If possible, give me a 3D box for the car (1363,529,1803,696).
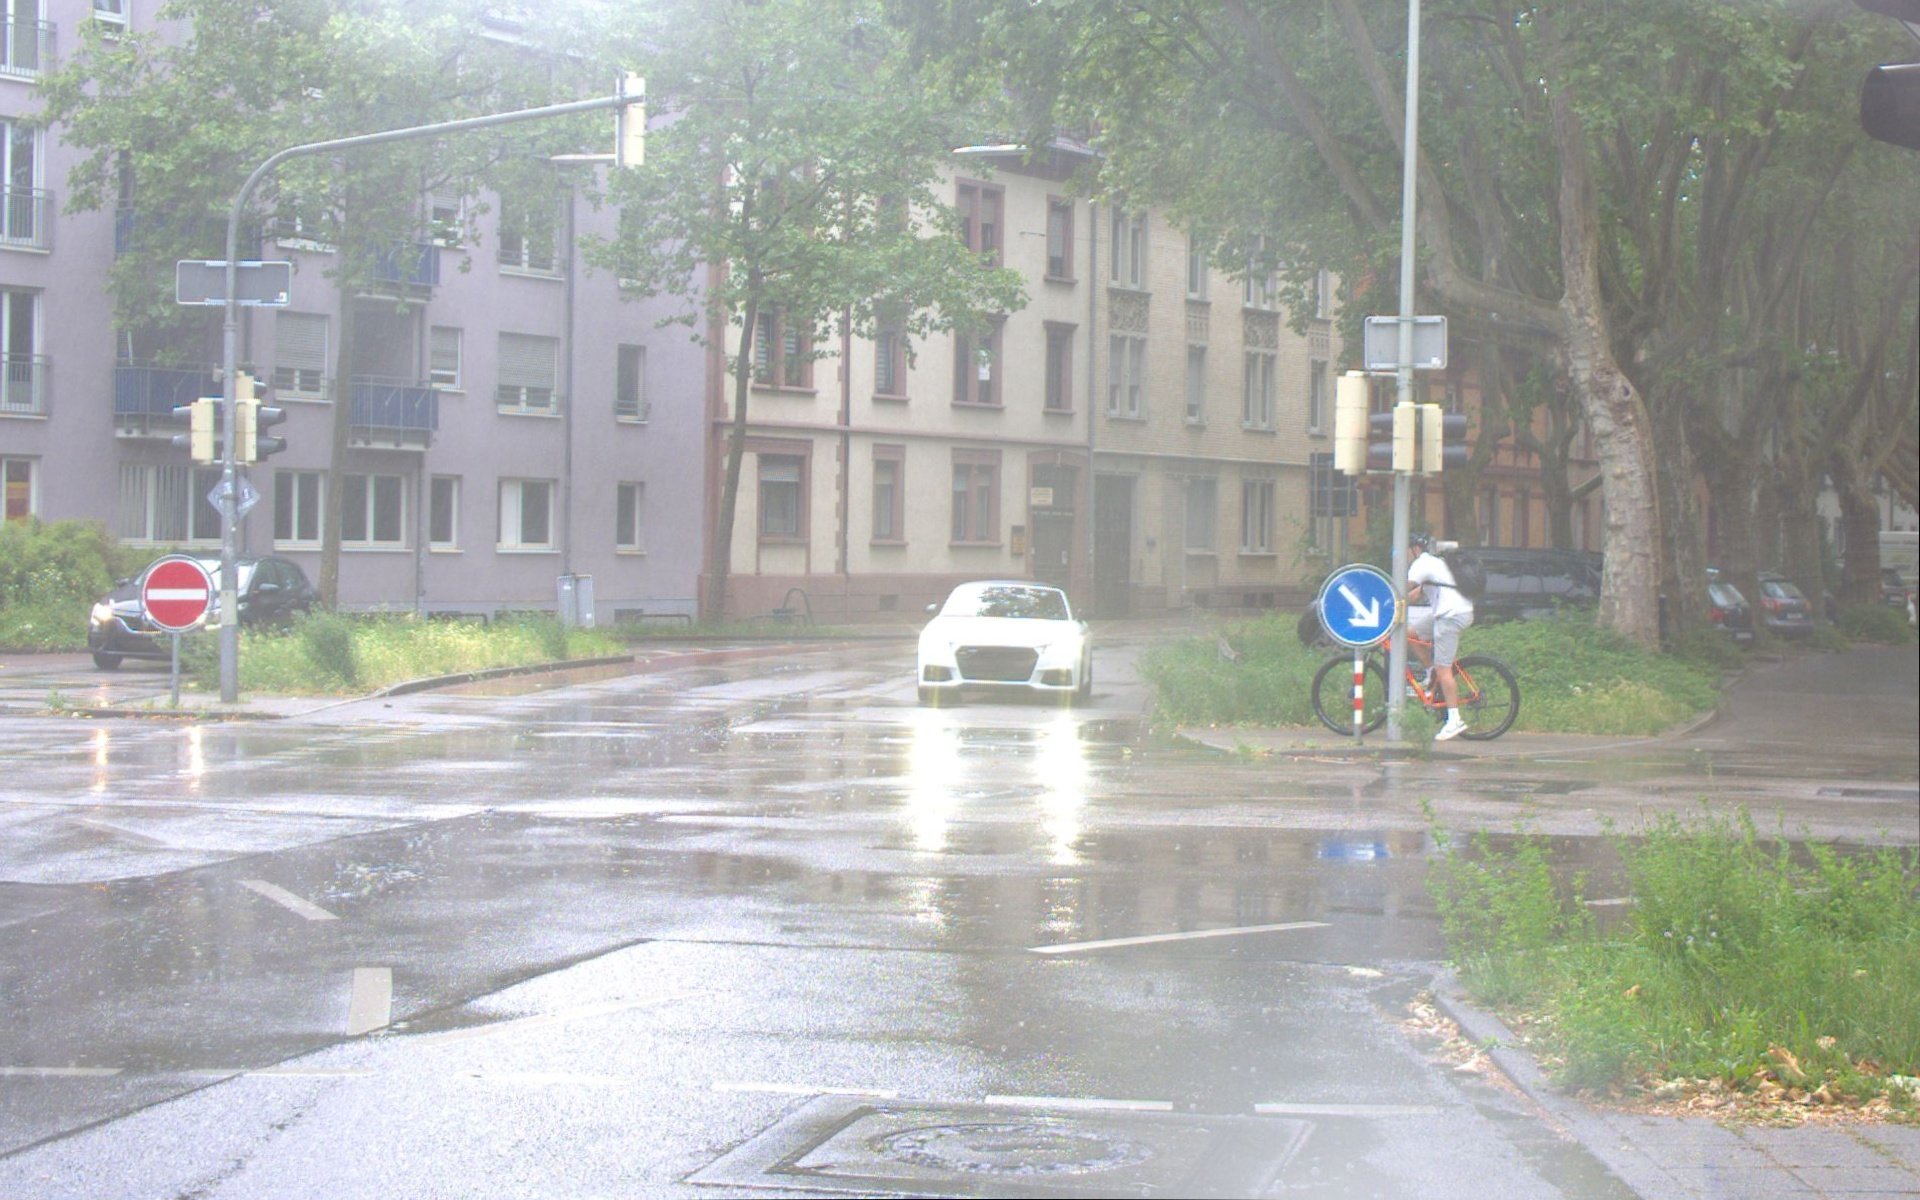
[{"bbox_3d":[5.945,0.096,32.757,3.989,1.481,1.999,1,1,12],"label":"car"}]

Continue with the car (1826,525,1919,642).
[{"bbox_3d":[24.390,-0.425,87.720,2.033,2.938,4.773,1,1,-21],"label":"car"}]

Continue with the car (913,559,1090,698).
[{"bbox_3d":[0.499,0.281,39.142,1.884,1.431,4.000,1,1,1],"label":"car"}]

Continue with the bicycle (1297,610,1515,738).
[{"bbox_3d":[3.942,0.643,30.401,1.873,1.077,0.657,1,0,8],"label":"bicycle"}]

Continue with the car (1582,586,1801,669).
[{"bbox_3d":[13.929,0.505,65.479,3.989,1.481,1.999,1,1,12],"label":"car"}]

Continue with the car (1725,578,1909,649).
[{"bbox_3d":[19.571,0.299,78.658,3.989,1.542,1.999,1,1,12],"label":"car"}]

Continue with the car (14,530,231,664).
[{"bbox_3d":[-10.048,-0.067,41.501,1.751,1.506,3.839,1,1,-2],"label":"car"}]

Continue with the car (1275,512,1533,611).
[{"bbox_3d":[6.987,-0.614,54.005,3.868,1.481,1.715,1,1,12],"label":"car"}]

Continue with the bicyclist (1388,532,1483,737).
[{"bbox_3d":[4.195,0.296,30.367,0.795,1.780,0.697,1,0,8],"label":"bicyclist"}]
